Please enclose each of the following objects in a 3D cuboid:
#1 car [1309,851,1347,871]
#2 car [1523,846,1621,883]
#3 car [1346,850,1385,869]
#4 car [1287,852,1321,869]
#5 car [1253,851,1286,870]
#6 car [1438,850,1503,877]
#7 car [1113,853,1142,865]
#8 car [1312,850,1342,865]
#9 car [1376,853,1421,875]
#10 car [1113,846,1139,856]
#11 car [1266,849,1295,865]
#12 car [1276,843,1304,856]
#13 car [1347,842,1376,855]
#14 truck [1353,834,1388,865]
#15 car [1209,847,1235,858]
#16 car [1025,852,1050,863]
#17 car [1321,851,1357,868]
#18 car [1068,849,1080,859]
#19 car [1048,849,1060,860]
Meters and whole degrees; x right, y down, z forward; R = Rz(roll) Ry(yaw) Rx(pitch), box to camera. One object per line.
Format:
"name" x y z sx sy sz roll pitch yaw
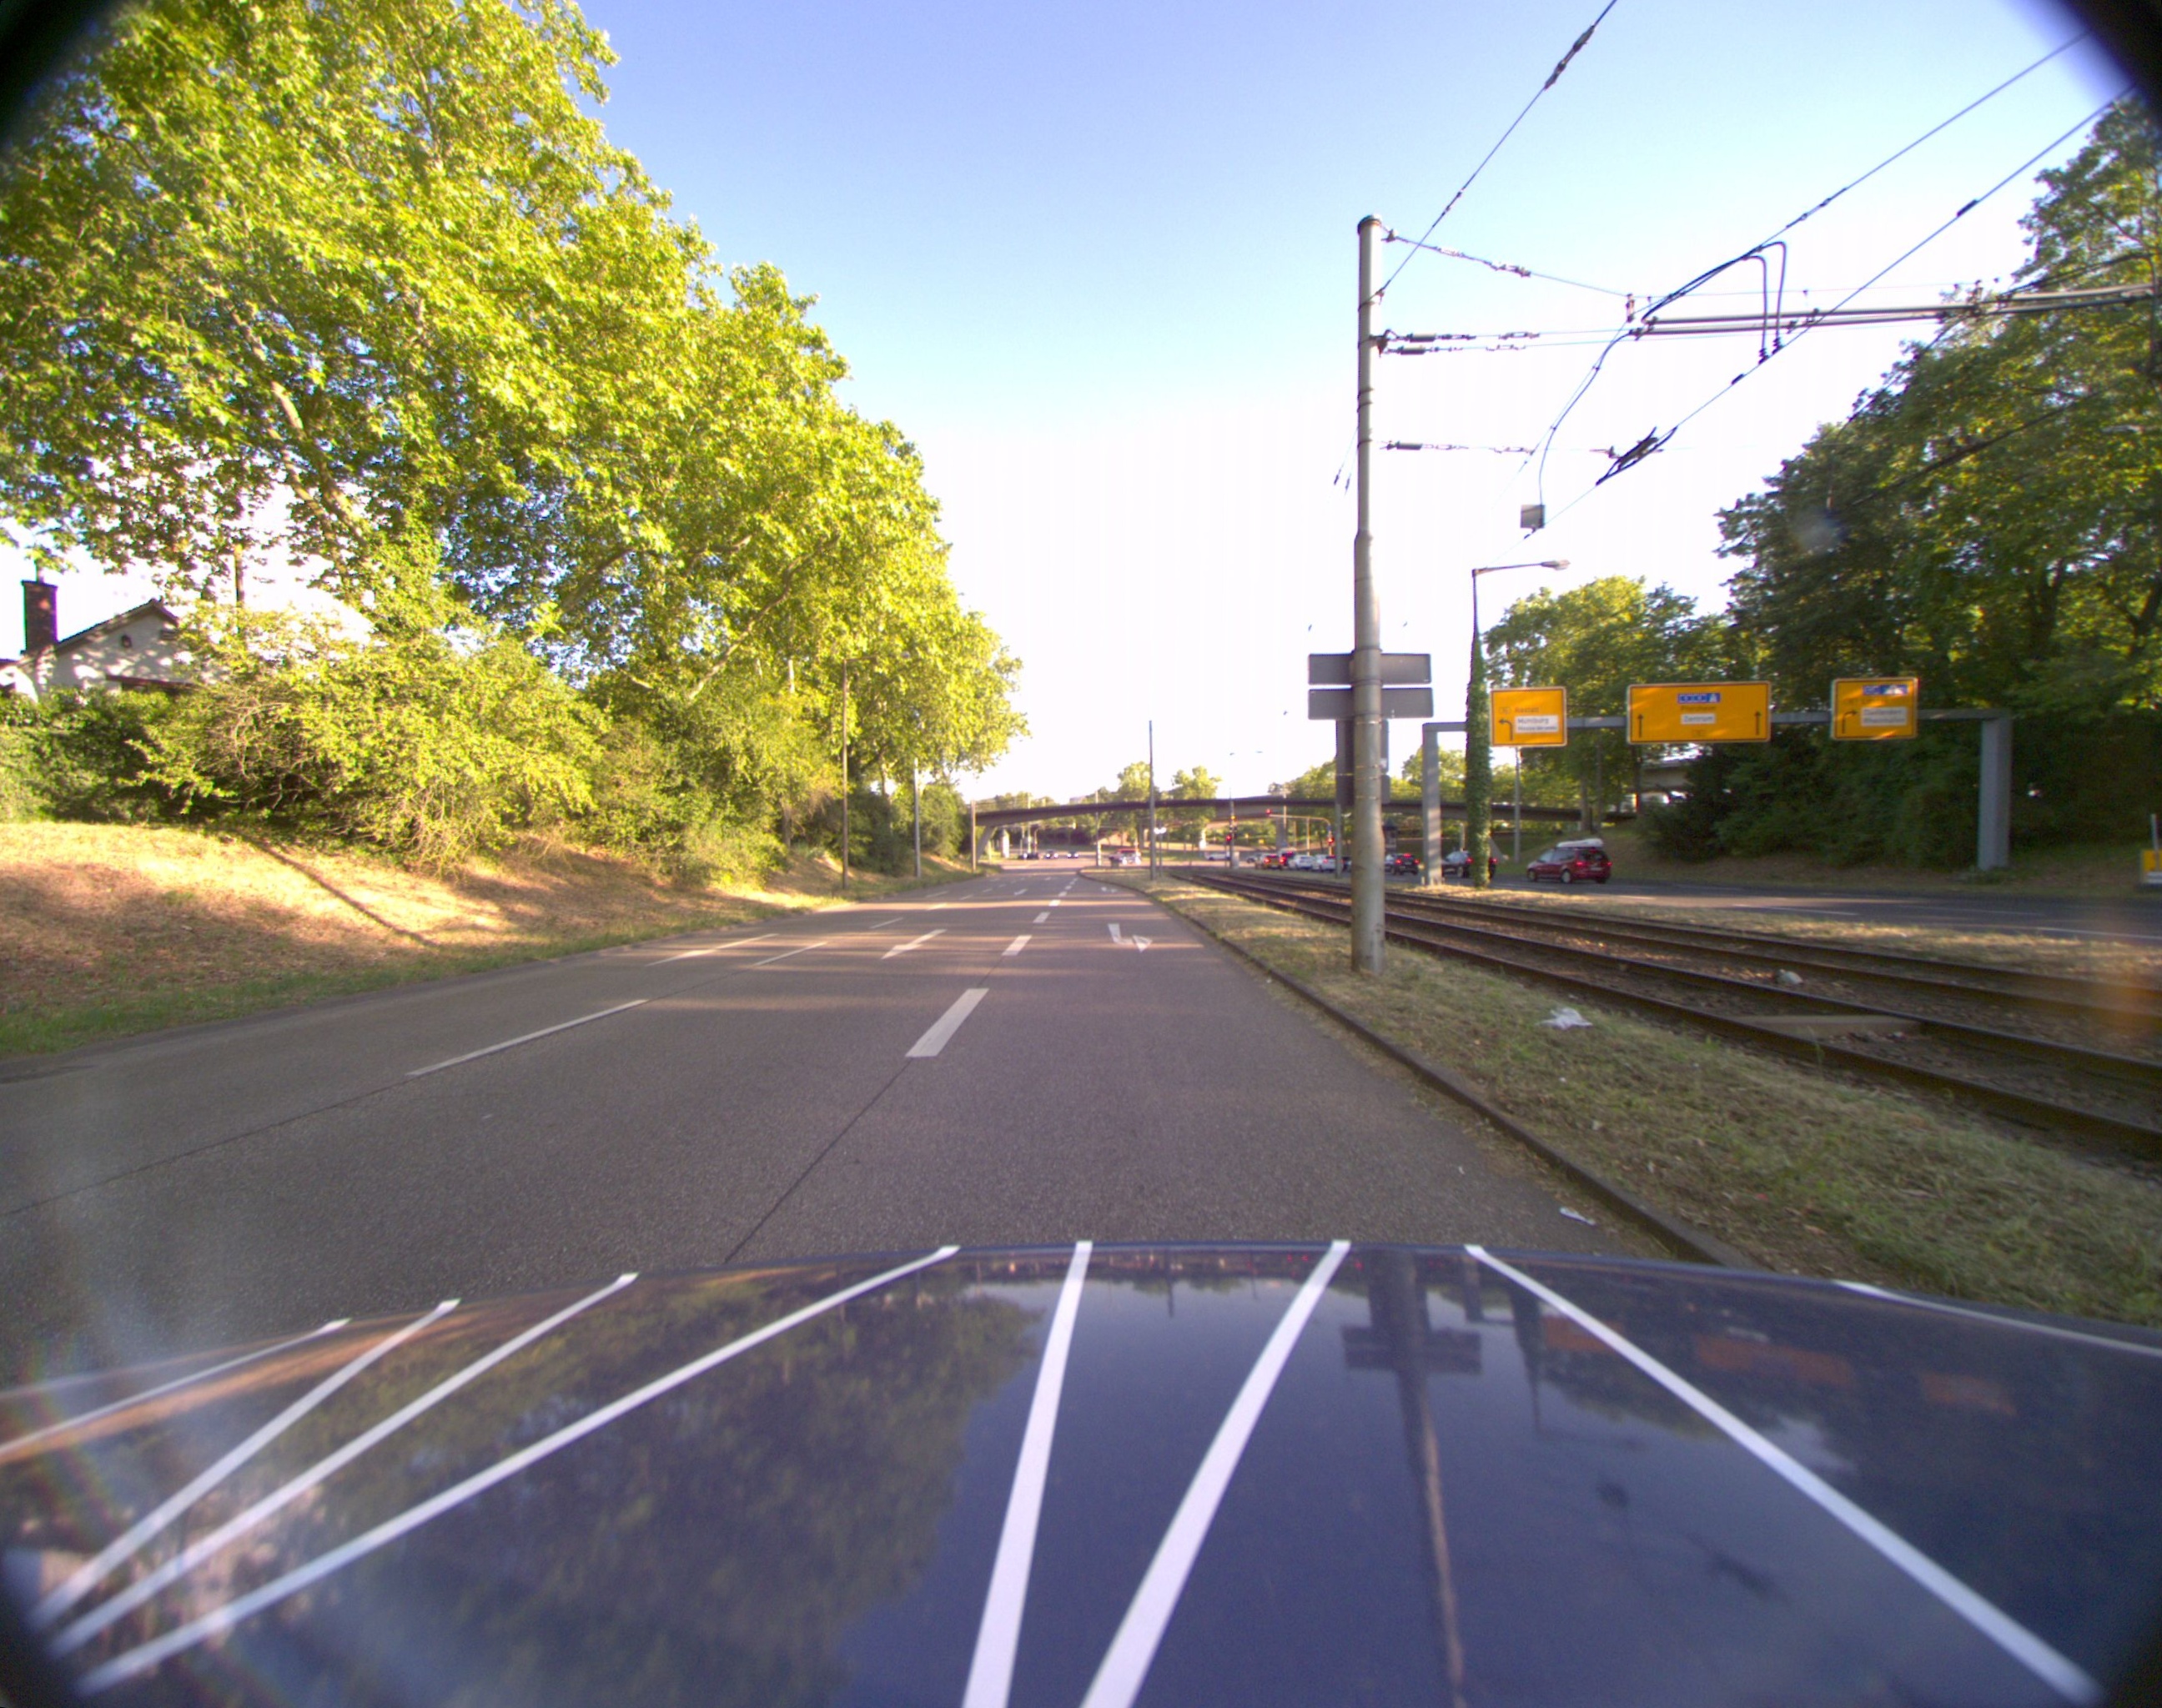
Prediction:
"car" 20.033 0.533 61.801 1.767 1.535 4.000 -1 0 0
"car" 23.115 0.451 35.972 1.842 1.625 4.311 0 0 0
"car" 23.973 0.423 64.067 1.813 1.535 4.000 -1 0 1
"car" 19.922 0.535 68.079 1.918 1.416 4.227 -1 0 2
"car" 16.153 0.499 65.231 1.767 1.535 4.000 -1 0 0
"car" 23.045 0.514 45.124 1.735 1.536 4.334 -1 0 1
"car" 6.463 0.659 105.655 3.799 1.490 1.759 -3 1 -35
"car" 24.955 0.362 77.163 1.917 1.416 4.228 -1 0 5
"car" 23.109 0.698 55.417 1.755 1.548 3.973 0 0 1
"car" 7.317 -0.543 123.963 3.868 1.403 1.814 -2 1 20
"car" 19.588 0.256 74.737 1.917 1.540 4.227 -1 0 4
"car" 30.629 -0.685 111.477 3.805 1.717 1.679 -2 1 20
"car" 39.766 -0.784 107.675 3.804 1.570 1.679 -2 1 24
"truck" 28.388 -0.449 74.794 2.281 2.862 6.886 -1 0 13
"car" 21.961 -0.232 118.327 3.785 1.491 1.766 -2 1 18
"car" -7.424 0.603 129.919 3.868 1.655 1.814 -2 1 21
"car" 23.744 0.488 70.205 1.868 1.416 4.226 -1 0 0
"car" -1.248 0.019 141.875 1.905 1.726 3.998 -2 0 -5
"car" -4.892 0.074 139.199 1.960 1.779 3.998 -2 0 -5
